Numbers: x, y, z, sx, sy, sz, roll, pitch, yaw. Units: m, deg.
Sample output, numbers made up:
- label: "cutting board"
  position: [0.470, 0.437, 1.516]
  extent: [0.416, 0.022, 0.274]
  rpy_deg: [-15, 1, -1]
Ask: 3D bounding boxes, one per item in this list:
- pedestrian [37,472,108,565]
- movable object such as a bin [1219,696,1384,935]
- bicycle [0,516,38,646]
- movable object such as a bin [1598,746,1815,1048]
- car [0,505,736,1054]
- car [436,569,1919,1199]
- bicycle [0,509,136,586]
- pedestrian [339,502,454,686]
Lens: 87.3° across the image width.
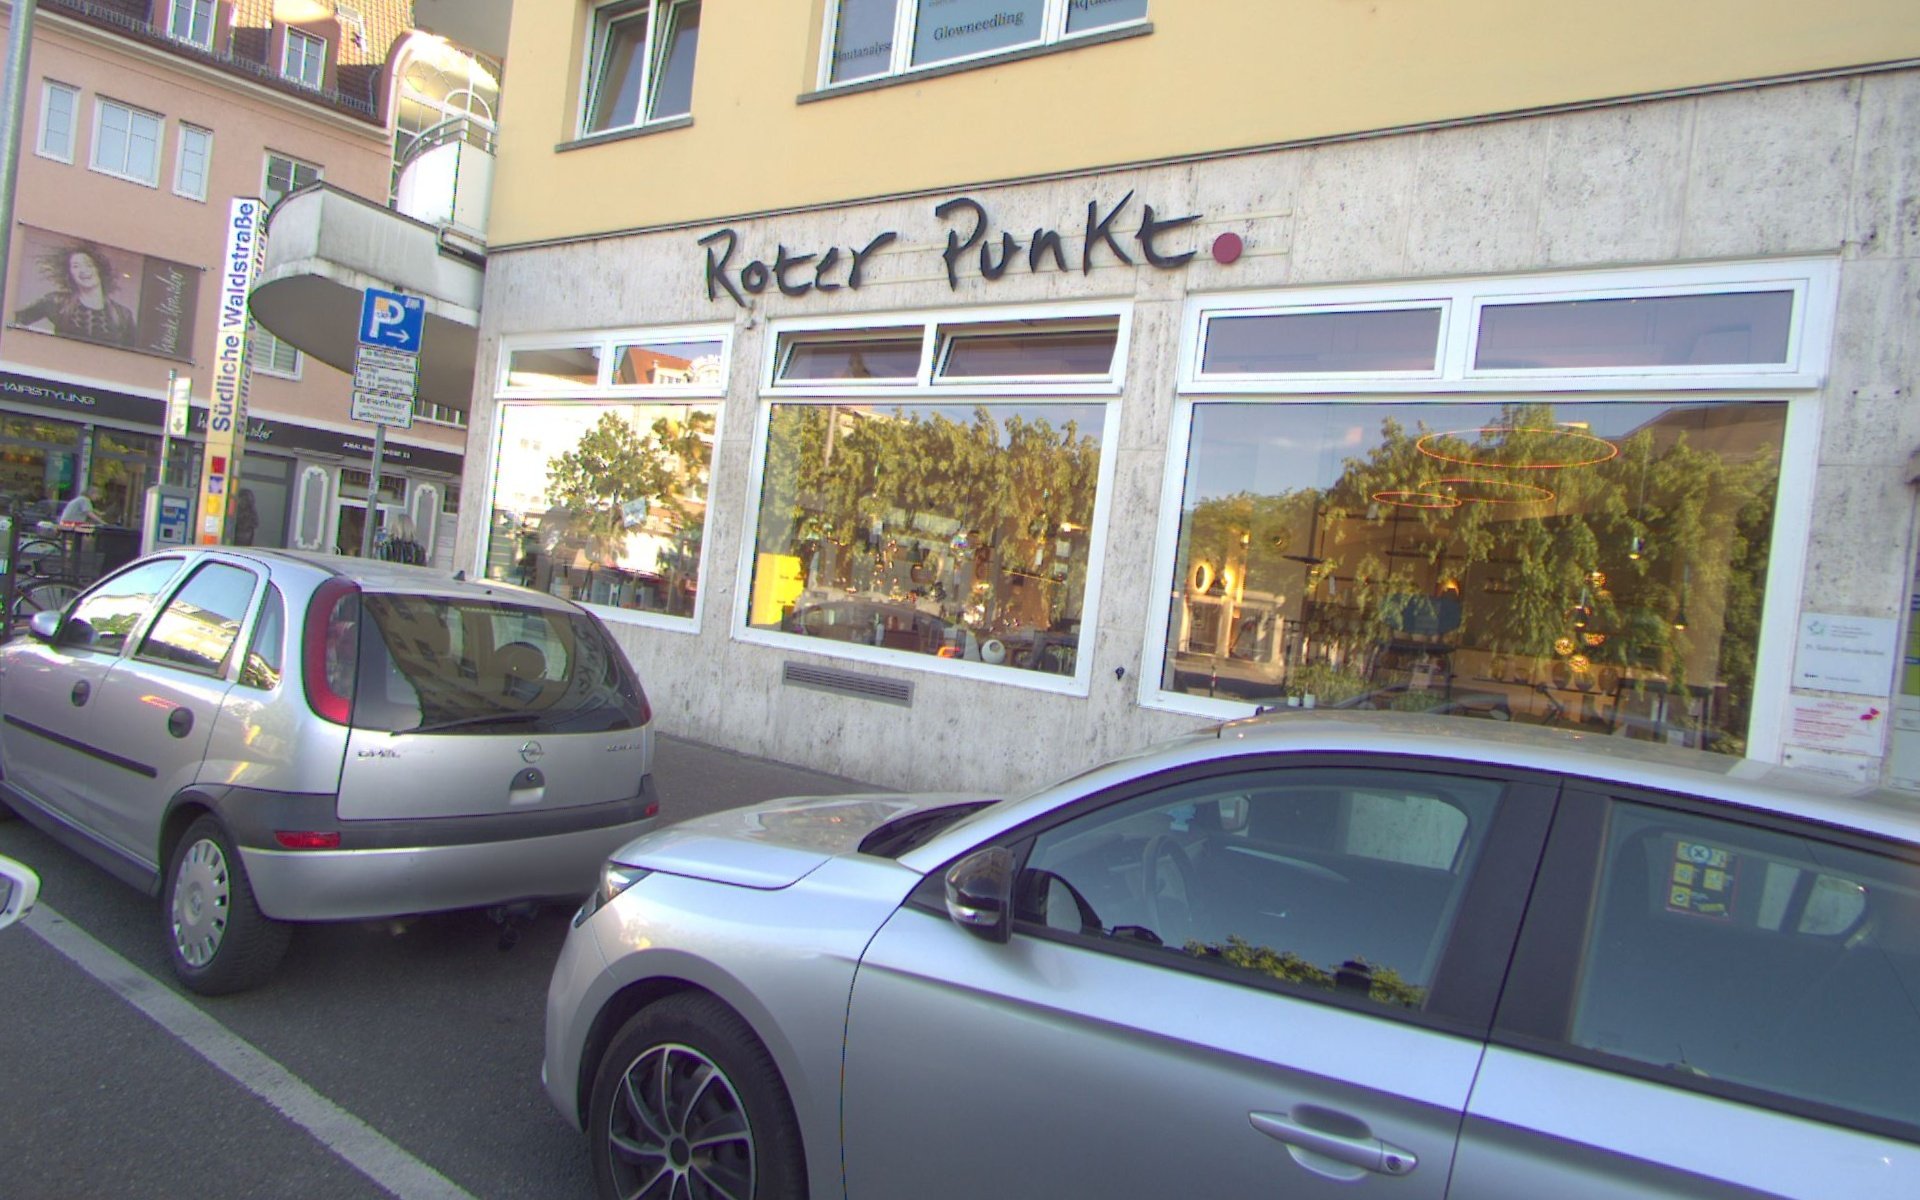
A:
- label: "pedestrian"
  position: [-15.111, -1.381, 17.138]
  extent: [0.575, 1.457, 0.742]
  rpy_deg: [6, -1, 44]
- label: "movable object such as a bin"
  position: [1.867, 1.121, 5.476]
  extent: [0.609, 1.082, 0.703]
  rpy_deg: [7, 3, 31]
- label: "bicycle"
  position: [-9.207, -0.215, 8.762]
  extent: [0.425, 1.175, 1.629]
  rpy_deg: [7, 1, 30]
- label: "movable object such as a bin"
  position: [3.333, 1.281, 4.563]
  extent: [0.609, 1.082, 0.703]
  rpy_deg: [7, 3, 31]
- label: "car"
  position: [-3.038, 0.452, 4.522]
  extent: [3.822, 1.411, 1.624]
  rpy_deg: [7, -1, 33]
- label: "car"
  position: [0.930, 0.913, 2.201]
  extent: [4.008, 1.444, 1.674]
  rpy_deg: [7, -1, 30]
- label: "bicycle"
  position: [-15.164, -0.876, 17.129]
  extent: [0.583, 1.057, 1.612]
  rpy_deg: [6, -2, 44]
- label: "pedestrian"
  position: [-5.339, -0.050, 9.533]
  extent: [0.618, 1.654, 0.661]
  rpy_deg: [6, 2, 36]
